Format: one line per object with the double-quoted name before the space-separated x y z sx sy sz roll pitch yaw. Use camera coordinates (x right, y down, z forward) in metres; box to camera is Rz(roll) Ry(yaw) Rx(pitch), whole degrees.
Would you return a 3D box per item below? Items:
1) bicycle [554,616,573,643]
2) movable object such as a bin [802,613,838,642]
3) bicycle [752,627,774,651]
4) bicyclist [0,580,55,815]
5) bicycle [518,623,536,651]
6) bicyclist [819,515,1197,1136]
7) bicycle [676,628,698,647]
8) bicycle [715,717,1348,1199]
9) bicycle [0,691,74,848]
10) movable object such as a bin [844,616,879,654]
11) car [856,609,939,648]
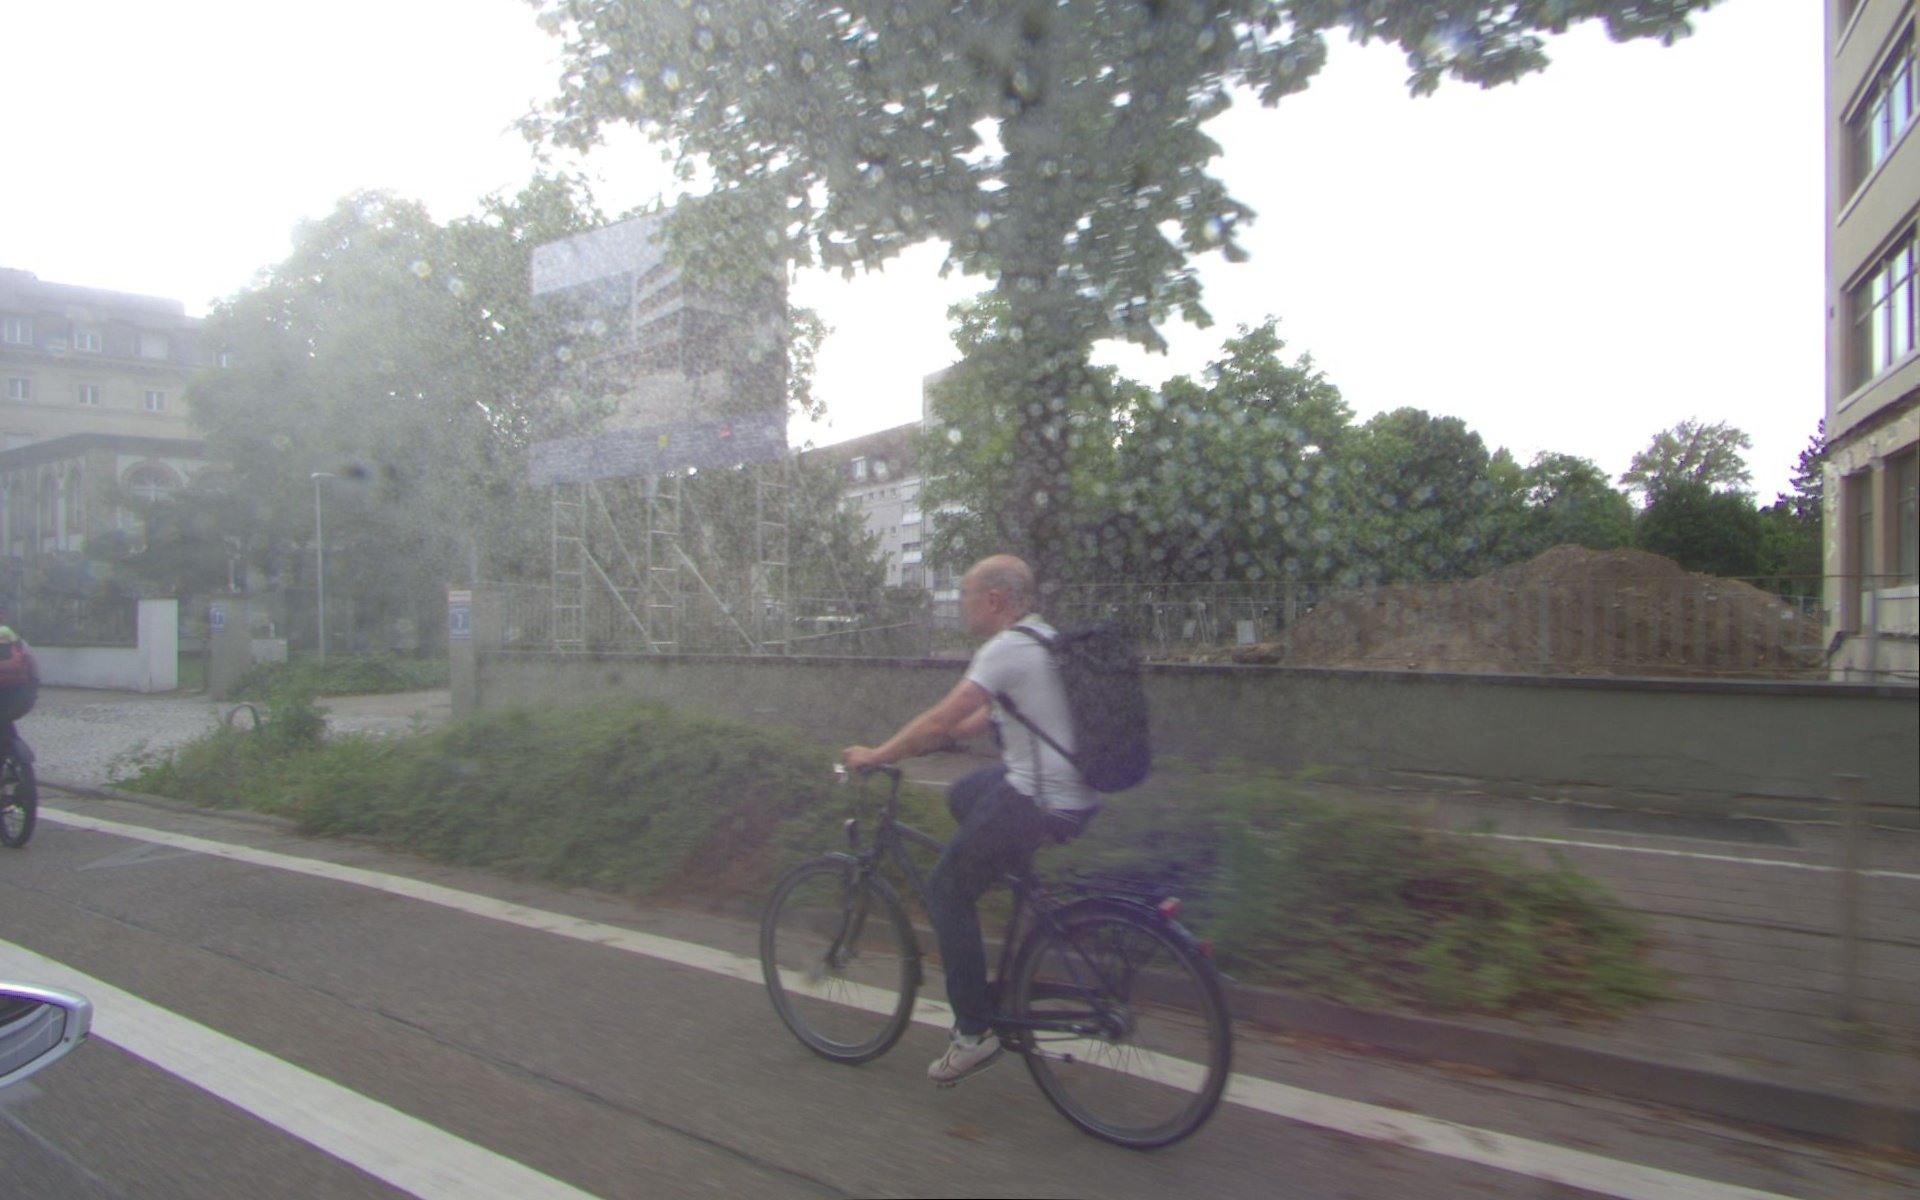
"bicycle" -16.833 1.243 42.464 0.609 1.134 2.213 0 -1 -26
"movable object such as a bin" -6.191 1.213 44.315 1.044 1.281 1.342 0 -1 -41
"bicycle" -9.375 1.855 47.636 0.391 1.079 1.817 0 -1 -34
"bicyclist" -7.072 0.684 7.176 0.906 1.631 0.656 0 0 32
"bicycle" -18.110 1.524 41.875 0.609 1.134 2.213 0 -1 -26
"bicyclist" 0.159 0.592 3.104 0.971 1.590 0.661 0 -1 30
"bicycle" -12.420 1.682 45.527 0.609 0.824 1.937 0 -1 -26
"bicycle" 0.170 0.997 3.092 1.838 1.131 0.663 0 -2 30
"bicycle" -7.169 1.185 7.310 2.028 0.992 0.489 -2 -2 32
"movable object such as a bin" -4.002 1.400 40.558 1.039 1.469 1.349 0 1 -24
"car" -3.417 1.586 55.384 4.299 2.039 1.841 1 -2 -37
